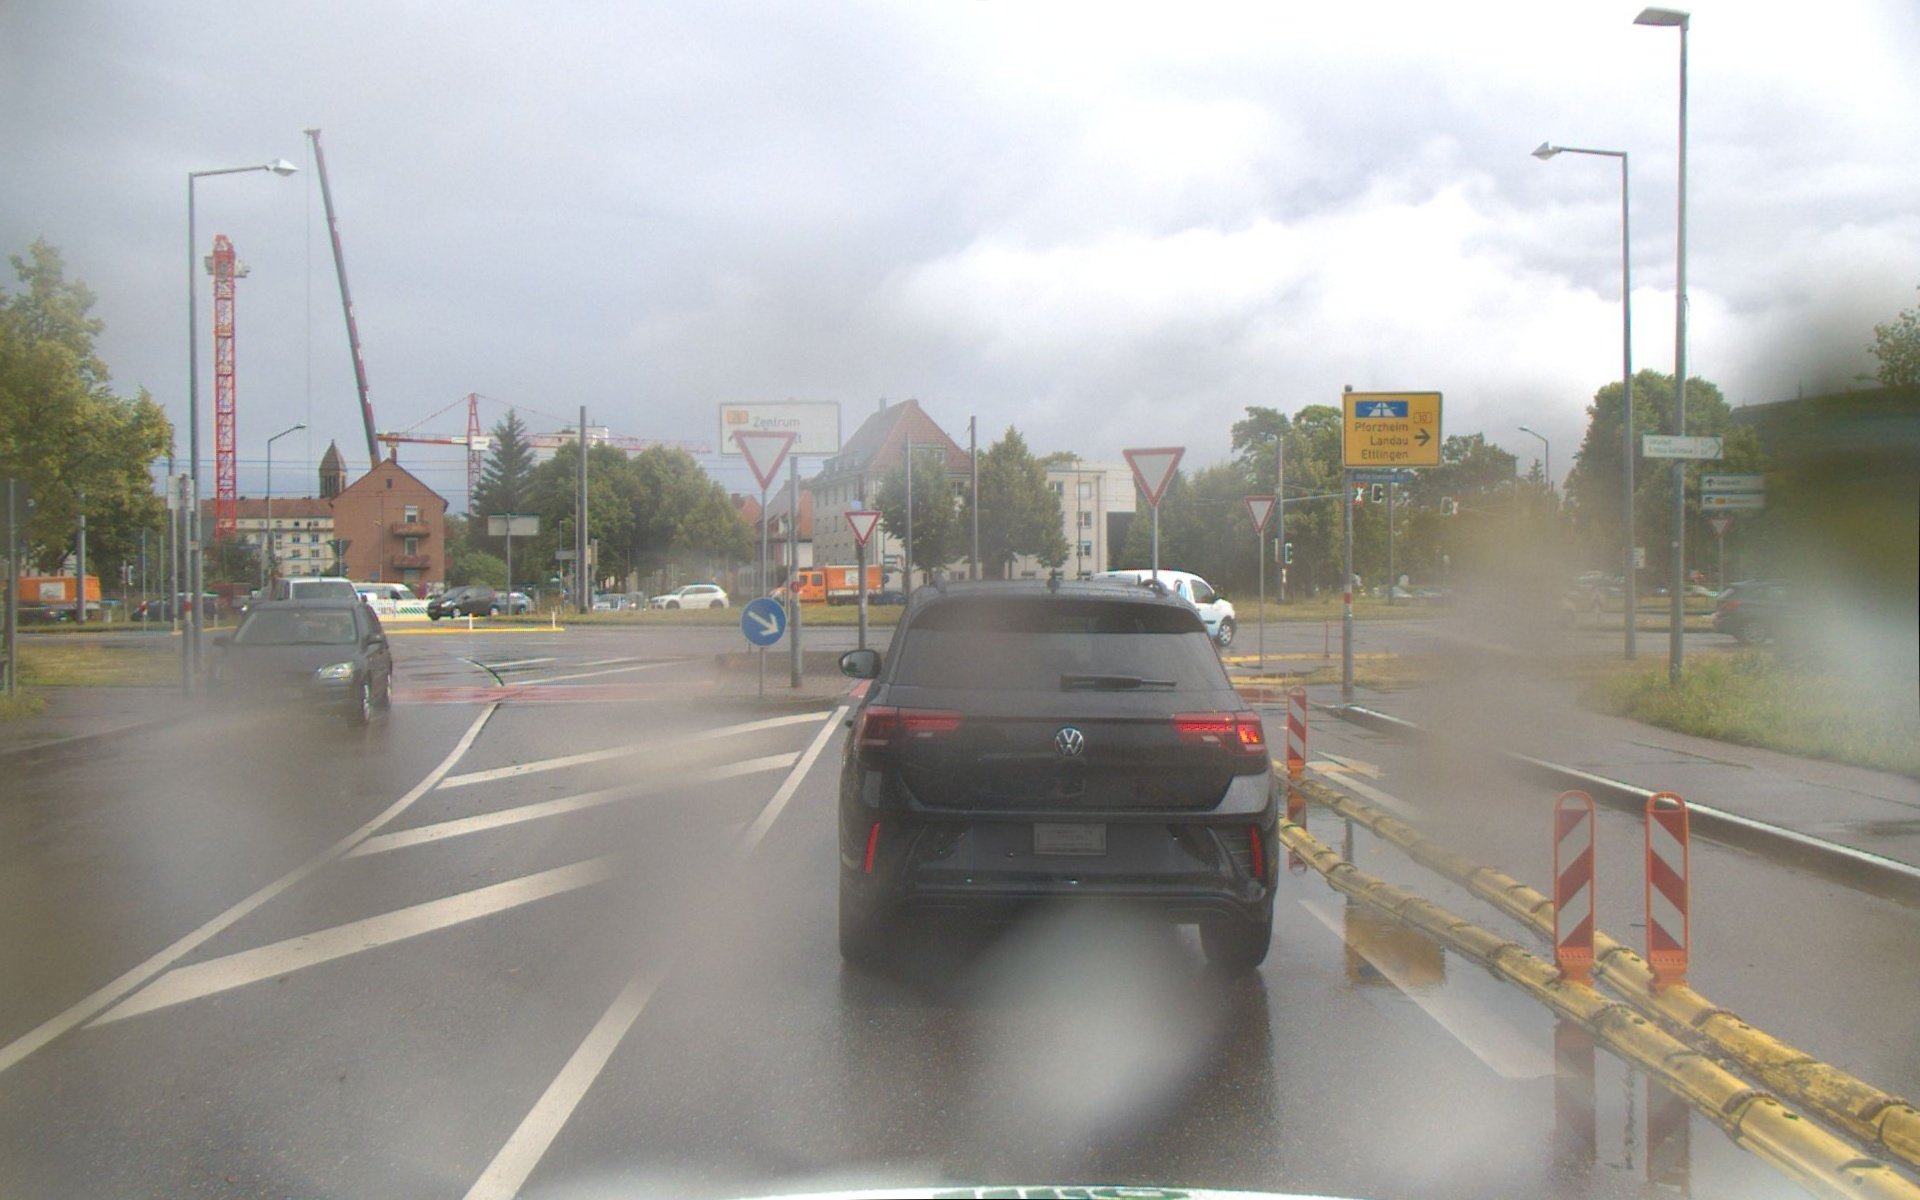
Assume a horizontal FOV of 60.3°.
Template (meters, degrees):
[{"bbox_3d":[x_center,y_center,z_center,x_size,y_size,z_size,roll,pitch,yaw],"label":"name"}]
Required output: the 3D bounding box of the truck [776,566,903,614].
[{"bbox_3d":[-6.885,-0.589,94.712,6.955,2.696,2.318,0,0,-18],"label":"truck"}]

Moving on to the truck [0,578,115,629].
[{"bbox_3d":[-46.401,0.180,83.051,6.569,2.485,2.432,-1,0,-4],"label":"truck"}]

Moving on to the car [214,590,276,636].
[{"bbox_3d":[-27.652,0.483,63.905,1.716,1.693,4.068,-1,0,-30],"label":"car"}]

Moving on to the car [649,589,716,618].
[{"bbox_3d":[-15.907,0.176,94.904,3.463,1.612,1.549,0,0,-34],"label":"car"}]

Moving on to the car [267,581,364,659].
[{"bbox_3d":[-16.990,0.484,43.469,1.866,1.909,5.087,-1,0,-27],"label":"car"}]

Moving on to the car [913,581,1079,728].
[{"bbox_3d":[0.336,0.555,19.239,1.700,1.540,3.602,0,0,-3],"label":"car"}]

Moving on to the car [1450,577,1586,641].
[{"bbox_3d":[16.969,0.257,50.253,3.954,1.862,1.975,-1,0,-35],"label":"car"}]

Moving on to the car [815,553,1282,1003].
[{"bbox_3d":[0.218,0.636,7.777,1.674,1.601,3.680,0,0,-4],"label":"car"}]

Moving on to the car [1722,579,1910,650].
[{"bbox_3d":[20.688,0.329,40.136,3.859,1.673,1.671,0,0,20],"label":"car"}]

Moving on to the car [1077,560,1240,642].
[{"bbox_3d":[4.778,0.005,39.275,1.835,1.841,4.383,0,1,39],"label":"car"}]

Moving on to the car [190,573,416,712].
[{"bbox_3d":[-7.995,0.479,20.512,1.841,1.508,4.166,-1,0,-11],"label":"car"}]
